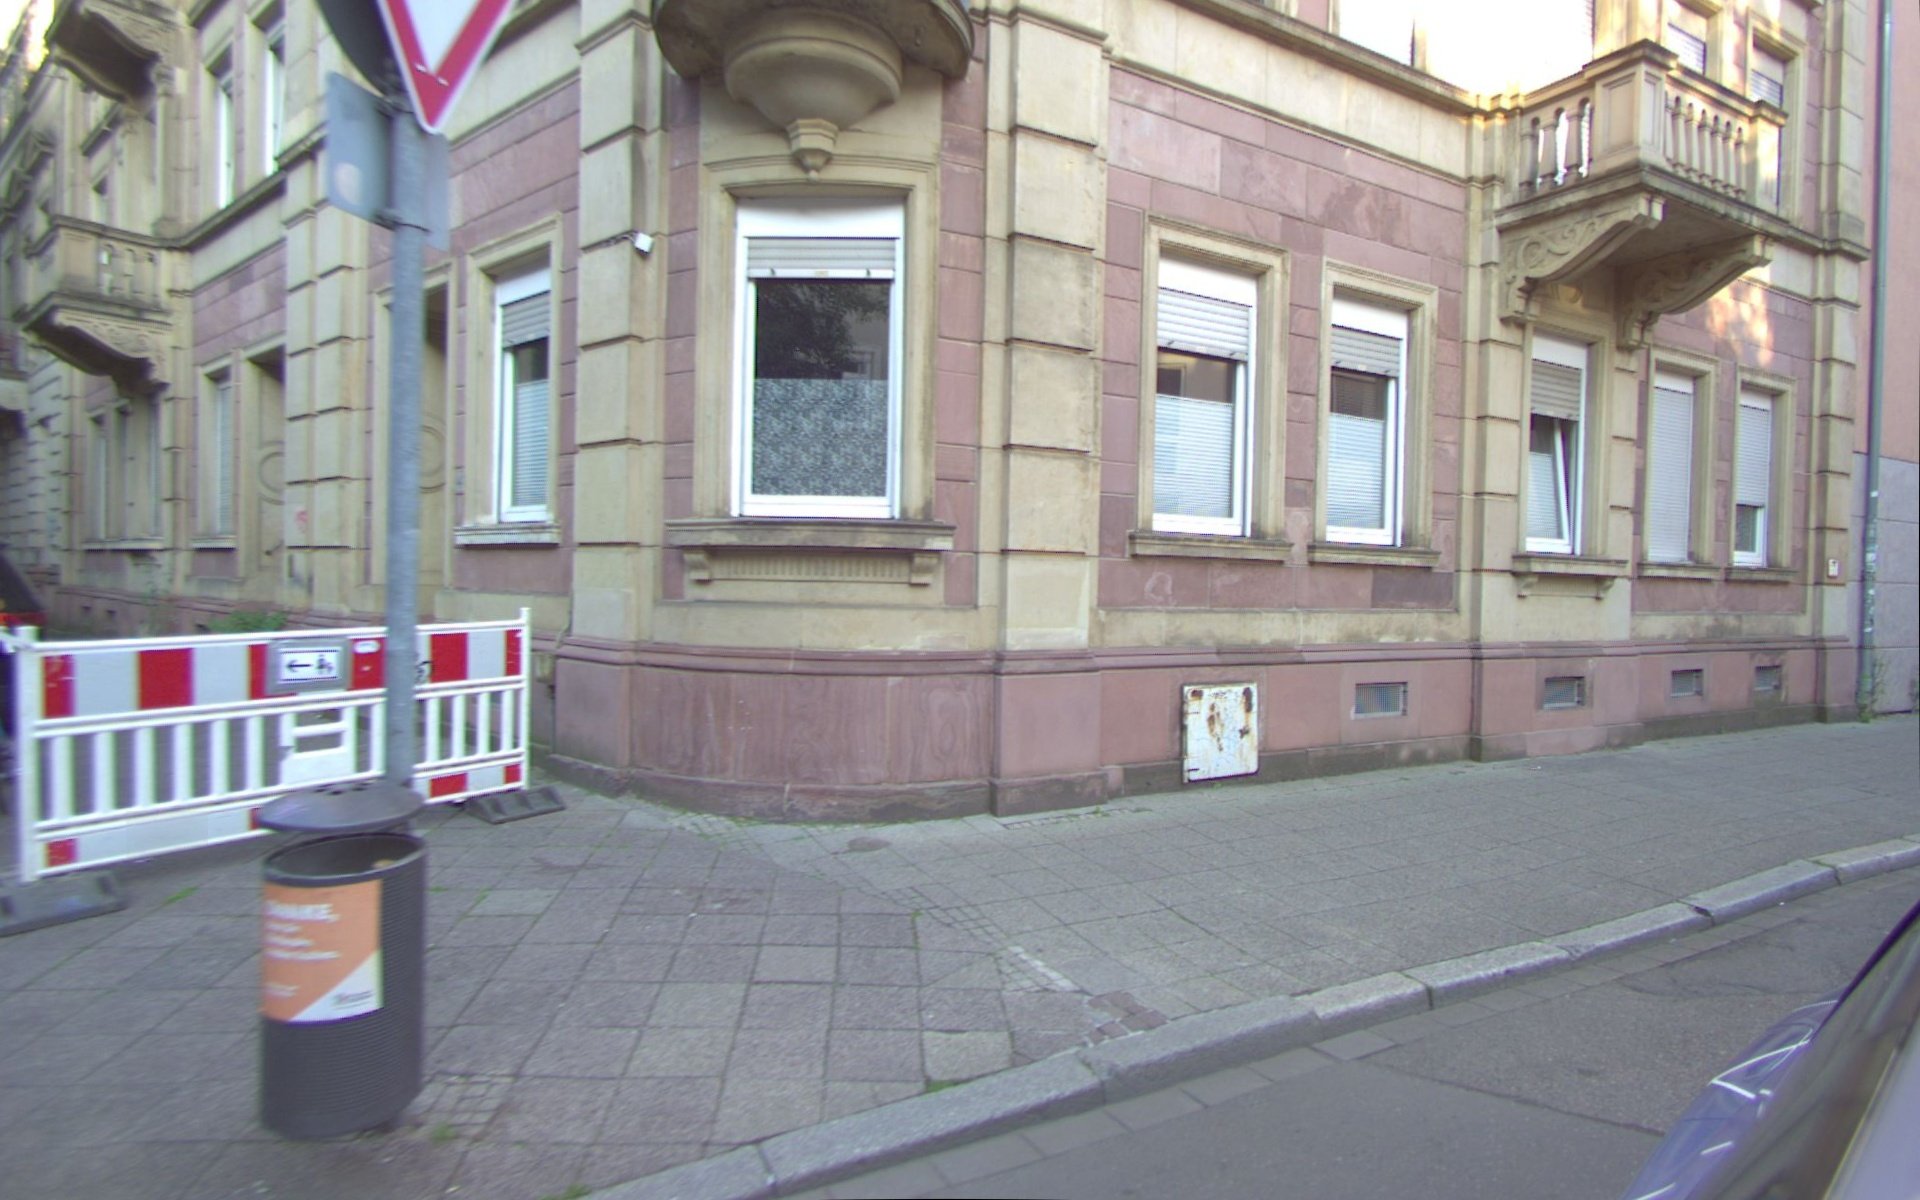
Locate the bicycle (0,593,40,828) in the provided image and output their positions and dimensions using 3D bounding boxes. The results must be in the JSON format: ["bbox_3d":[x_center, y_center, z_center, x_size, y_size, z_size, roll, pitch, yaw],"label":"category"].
[{"bbox_3d":[-5.448,0.527,5.533,1.862,1.102,0.359,4,4,40],"label":"bicycle"}]

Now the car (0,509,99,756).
[{"bbox_3d":[-8.601,0.256,6.435,1.769,1.759,4.526,3,4,40],"label":"car"}]
